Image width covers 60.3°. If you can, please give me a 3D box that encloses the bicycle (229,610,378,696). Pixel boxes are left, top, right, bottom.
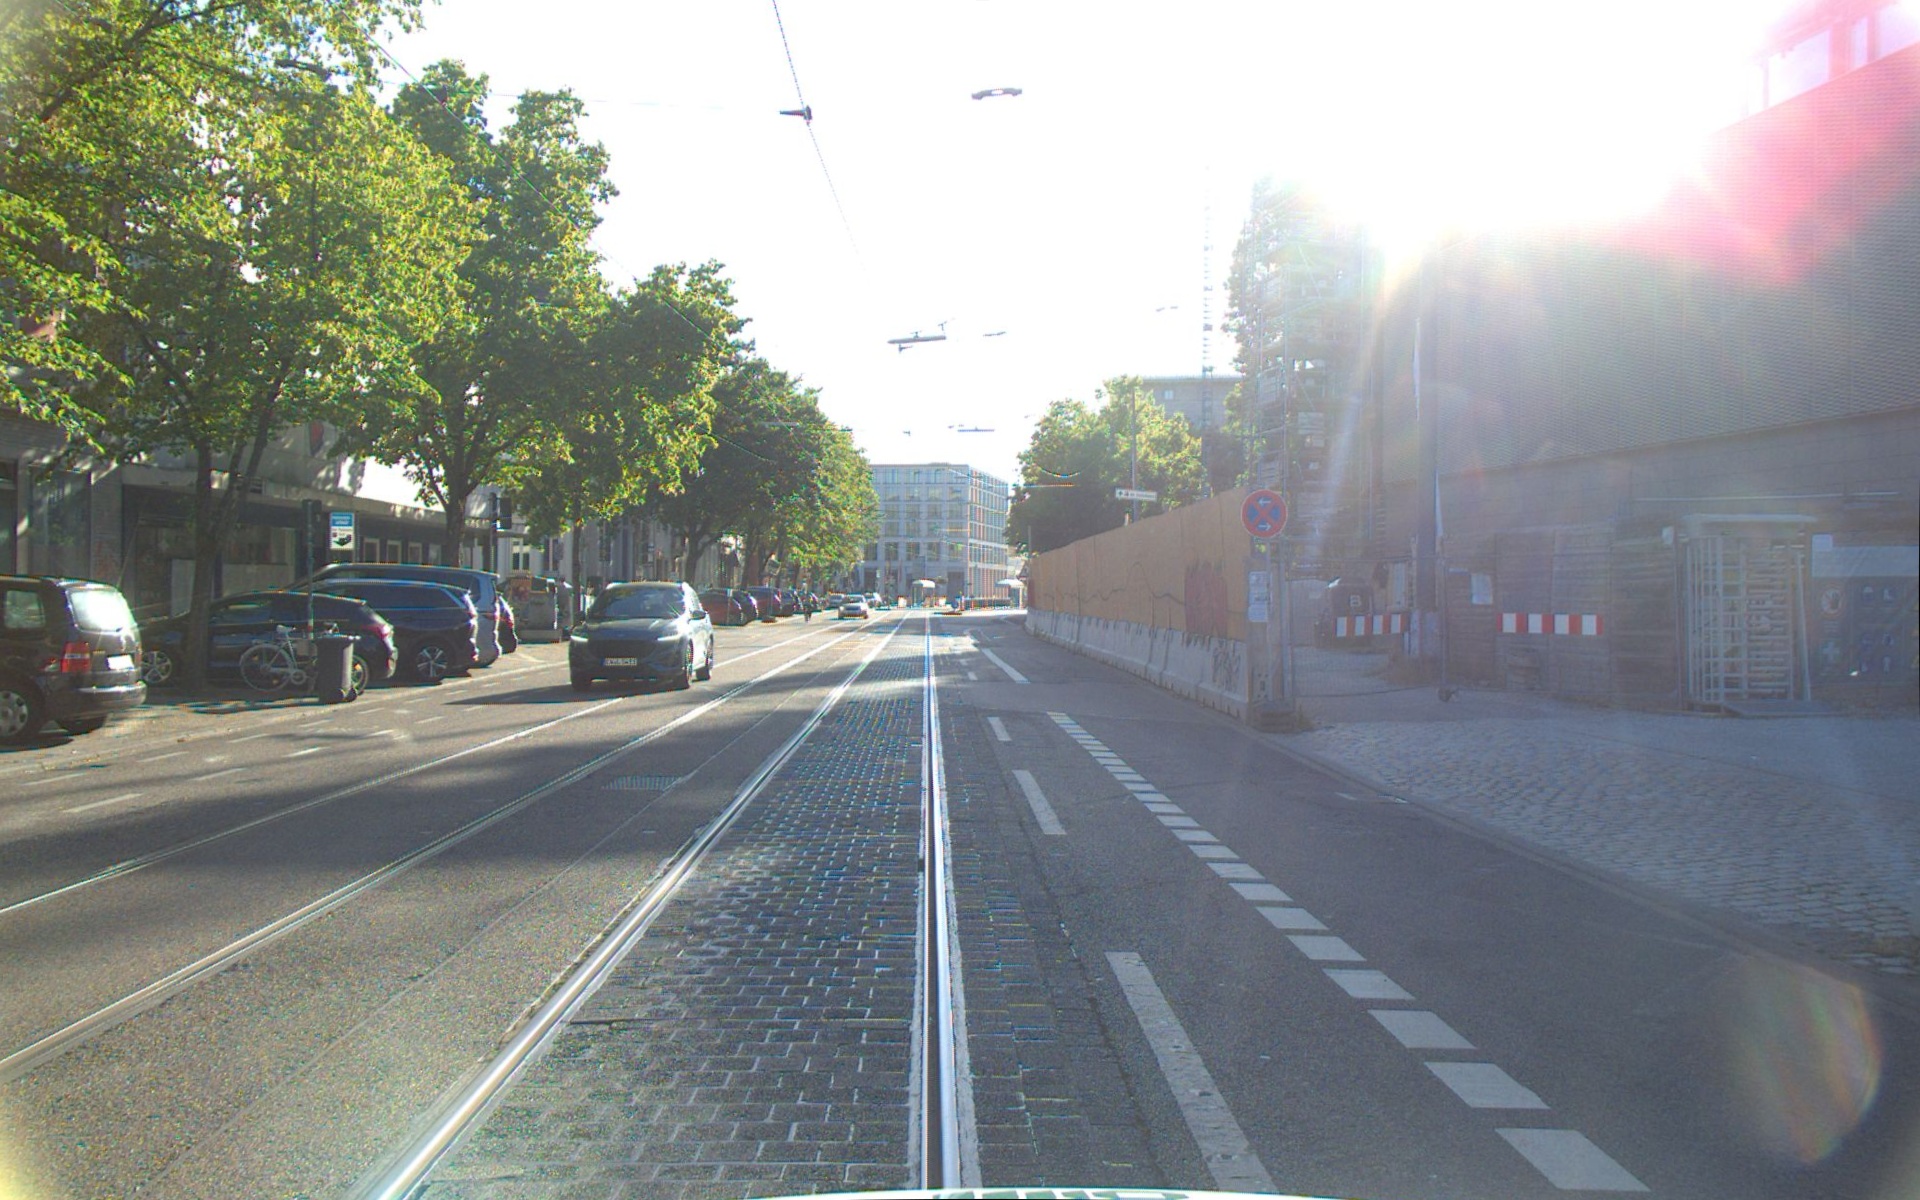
[{"bbox_3d":[-9.436,0.767,23.841,1.936,1.164,0.490,2,-1,-20],"label":"bicycle"}]

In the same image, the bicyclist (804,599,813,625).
[{"bbox_3d":[-8.188,0.652,89.370,0.448,1.402,0.640,0,0,-6],"label":"bicyclist"}]

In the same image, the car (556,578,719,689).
[{"bbox_3d":[-5.126,0.493,26.823,1.888,1.658,4.248,0,0,-1],"label":"car"}]

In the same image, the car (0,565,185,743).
[{"bbox_3d":[-10.536,0.467,17.167,4.023,1.707,1.840,3,0,-4],"label":"car"}]

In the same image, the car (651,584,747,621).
[{"bbox_3d":[-11.512,0.117,73.022,3.868,1.478,1.618,2,-1,-35],"label":"car"}]

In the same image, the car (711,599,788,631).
[{"bbox_3d":[-12.062,0.871,94.957,4.113,1.751,1.569,1,0,-29],"label":"car"}]

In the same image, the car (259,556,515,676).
[{"bbox_3d":[-10.610,0.314,30.655,4.295,2.021,1.936,2,-1,-23],"label":"car"}]

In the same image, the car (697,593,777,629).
[{"bbox_3d":[-11.035,0.544,81.895,3.645,1.751,1.591,0,0,-37],"label":"car"}]

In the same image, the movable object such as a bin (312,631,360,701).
[{"bbox_3d":[-8.785,0.925,23.304,0.566,0.929,0.573,2,1,-17],"label":"movable object such as a bin"}]

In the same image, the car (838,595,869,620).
[{"bbox_3d":[-6.435,0.418,99.988,1.674,1.461,4.170,0,0,-1],"label":"car"}]

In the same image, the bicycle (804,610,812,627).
[{"bbox_3d":[-8.222,0.999,89.361,0.440,0.896,1.899,0,0,-6],"label":"bicycle"}]

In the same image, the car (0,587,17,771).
[{"bbox_3d":[-10.230,0.608,13.712,4.056,1.539,1.824,2,0,-28],"label":"car"}]

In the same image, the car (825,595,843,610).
[{"bbox_3d":[-12.252,0.241,161.159,1.541,1.516,3.999,0,0,-1],"label":"car"}]

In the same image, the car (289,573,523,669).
[{"bbox_3d":[-11.152,0.427,33.312,4.228,1.695,1.896,3,-1,-26],"label":"car"}]

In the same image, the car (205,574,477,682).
[{"bbox_3d":[-10.445,0.451,28.052,4.176,1.714,1.799,0,0,-22],"label":"car"}]

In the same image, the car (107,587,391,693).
[{"bbox_3d":[-10.650,0.557,25.064,3.798,1.502,1.833,0,0,-19],"label":"car"}]

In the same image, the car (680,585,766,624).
[{"bbox_3d":[-10.986,0.211,76.757,3.645,1.751,1.591,0,0,-37],"label":"car"}]
